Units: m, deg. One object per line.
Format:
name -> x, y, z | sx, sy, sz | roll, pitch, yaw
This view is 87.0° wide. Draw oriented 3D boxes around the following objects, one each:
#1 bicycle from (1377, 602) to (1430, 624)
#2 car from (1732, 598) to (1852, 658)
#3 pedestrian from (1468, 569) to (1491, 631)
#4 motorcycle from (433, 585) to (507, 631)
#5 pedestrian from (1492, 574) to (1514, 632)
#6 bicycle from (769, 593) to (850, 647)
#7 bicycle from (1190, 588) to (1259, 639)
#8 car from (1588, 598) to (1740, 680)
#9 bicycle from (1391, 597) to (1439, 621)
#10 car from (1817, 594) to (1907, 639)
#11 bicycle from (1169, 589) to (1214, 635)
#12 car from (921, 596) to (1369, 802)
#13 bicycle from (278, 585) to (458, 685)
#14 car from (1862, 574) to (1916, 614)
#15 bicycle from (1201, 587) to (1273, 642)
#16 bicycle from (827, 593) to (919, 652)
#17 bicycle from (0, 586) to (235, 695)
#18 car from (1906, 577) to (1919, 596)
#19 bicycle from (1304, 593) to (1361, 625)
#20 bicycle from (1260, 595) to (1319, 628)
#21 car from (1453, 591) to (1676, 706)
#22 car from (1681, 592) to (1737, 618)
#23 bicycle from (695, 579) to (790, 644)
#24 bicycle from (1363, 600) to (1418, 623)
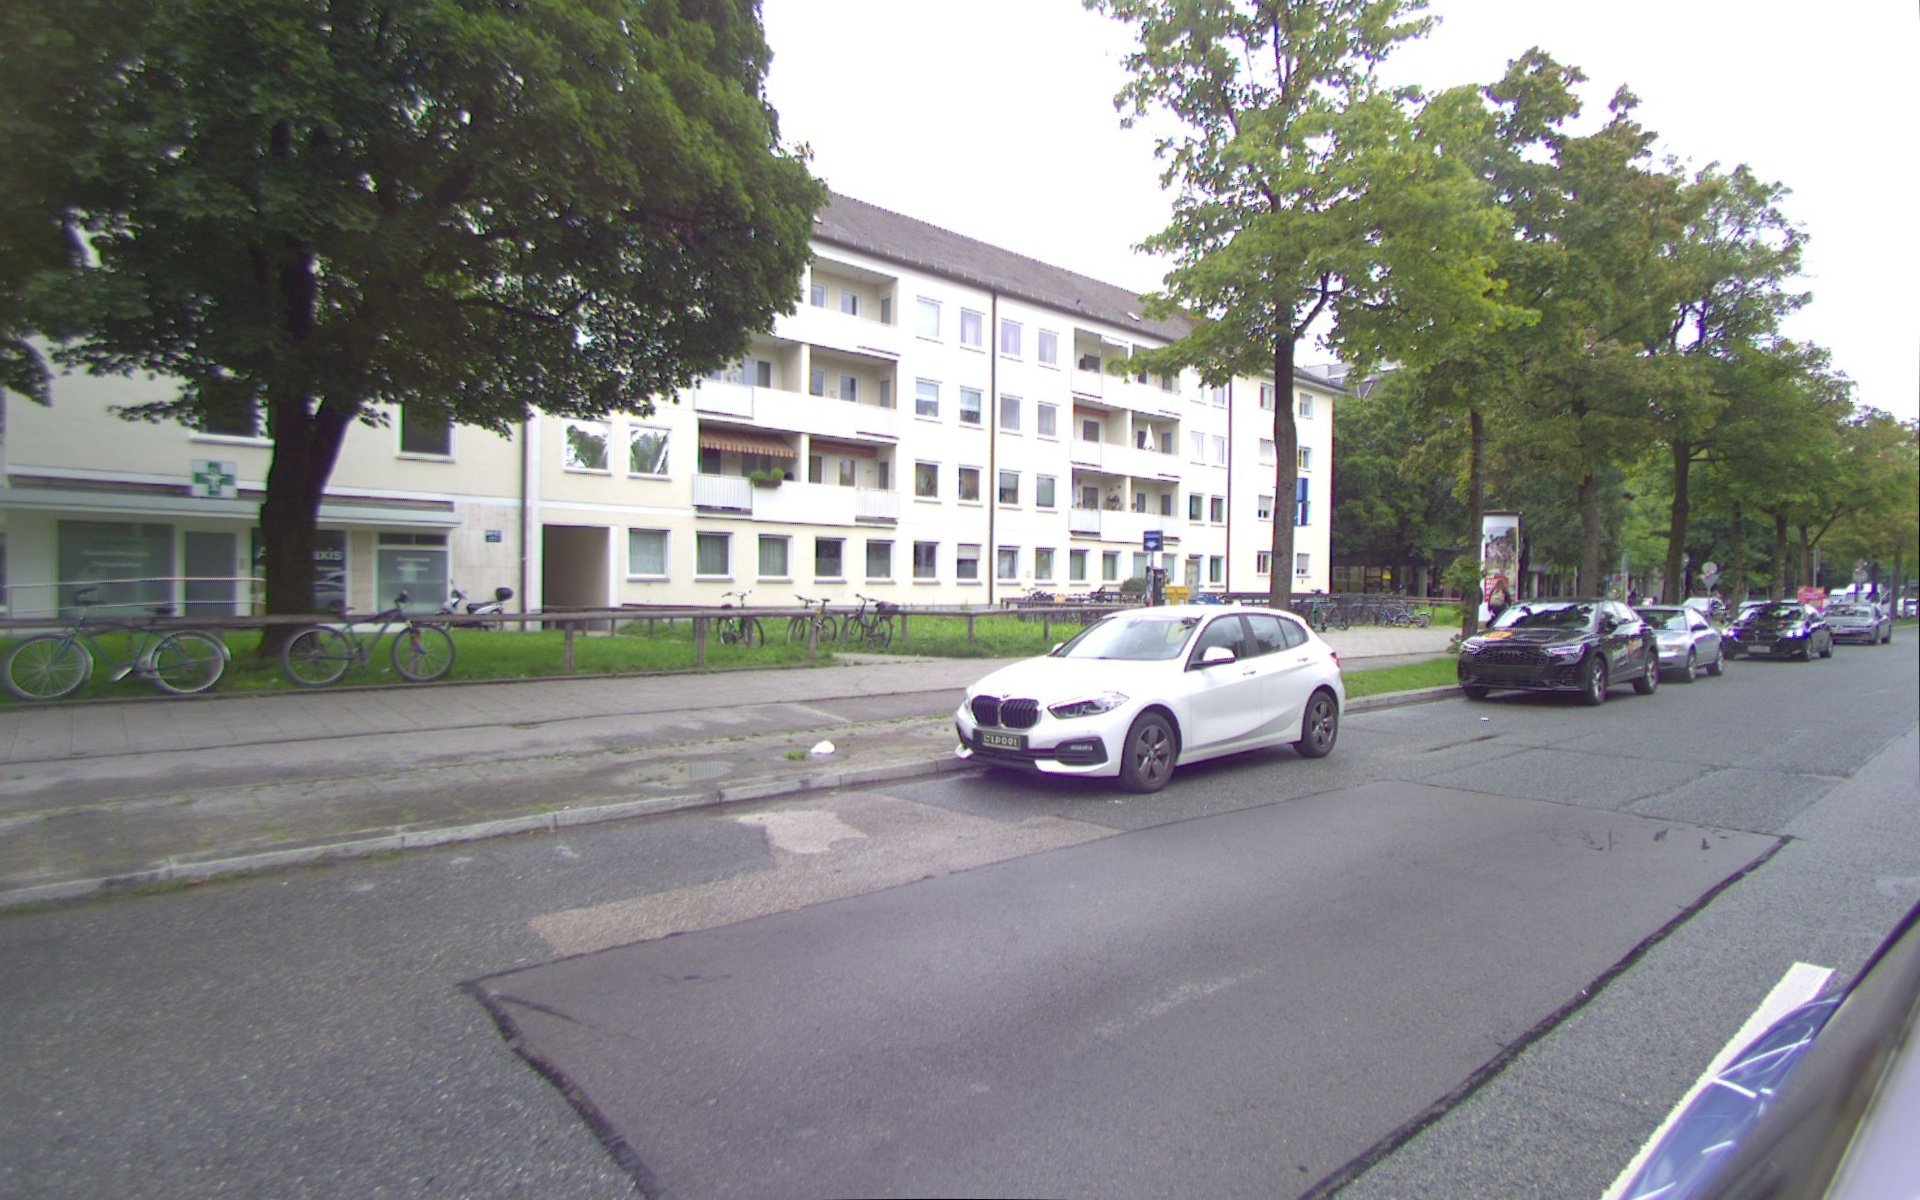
bicycle -> 15.035, 0.425, 34.316 | 0.490, 0.704, 1.595 | 0, 1, -45
car -> 21.533, 0.651, 26.137 | 4.227, 1.397, 1.824 | 0, 1, -43
pedestrian -> 15.097, -0.019, 29.418 | 0.555, 1.778, 0.651 | 1, 0, 29
motorcycle -> -12.441, 0.186, 25.735 | 1.593, 1.134, 0.606 | 0, 1, -41
pedestrian -> 15.610, 0.082, 29.092 | 0.555, 1.625, 0.515 | 1, 0, 30
bicycle -> -3.263, 0.406, 21.756 | 0.653, 1.081, 2.027 | 0, 1, -45
bicycle -> 6.398, 0.306, 24.400 | 2.039, 1.203, 0.545 | 0, 1, -41
car -> 13.594, 0.669, 19.475 | 3.860, 1.397, 1.615 | 0, 1, -43
bicycle -> 15.577, 0.312, 34.674 | 0.490, 0.722, 1.389 | 0, 3, -45
car -> 31.581, 0.533, 35.392 | 4.225, 1.487, 1.825 | 0, 1, -41
bicycle -> 5.861, 0.294, 25.556 | 1.231, 1.130, 0.466 | 0, 0, -41
car -> 1.853, 0.714, 9.301 | 4.213, 1.455, 1.824 | 0, -1, -41
bicycle -> -6.767, 0.371, 11.630 | 1.738, 1.068, 0.470 | -1, 0, -42
car -> 60.231, -0.425, 65.565 | 4.912, 2.485, 1.997 | -1, 0, -41
bicycle -> 6.352, 0.319, 23.149 | 2.039, 1.203, 0.545 | 0, 1, -41
bicycle -> -1.738, 0.411, 19.990 | 0.653, 1.081, 2.027 | 0, 1, -45
bicycle -> -8.499, 0.375, 10.272 | 1.820, 1.028, 0.448 | 0, 1, -41
car -> 125.411, -1.799, 132.408 | 4.915, 2.485, 1.996 | 0, 1, -43
bicycle -> 11.611, 0.274, 31.542 | 0.490, 0.927, 1.596 | 0, 2, -45
bicycle -> 9.742, 0.318, 29.939 | 0.490, 0.927, 1.595 | 0, 1, -45
car -> 9.423, 0.638, 15.645 | 4.086, 1.530, 1.824 | 0, 1, -42
car -> 44.781, 0.257, 60.471 | 4.225, 1.487, 1.825 | 0, 1, -41
bicycle -> -3.858, 0.180, 17.862 | 0.653, 1.081, 2.027 | 0, 1, -45
bicycle -> 14.365, 0.370, 33.787 | 0.490, 0.645, 1.596 | 0, 4, -45
